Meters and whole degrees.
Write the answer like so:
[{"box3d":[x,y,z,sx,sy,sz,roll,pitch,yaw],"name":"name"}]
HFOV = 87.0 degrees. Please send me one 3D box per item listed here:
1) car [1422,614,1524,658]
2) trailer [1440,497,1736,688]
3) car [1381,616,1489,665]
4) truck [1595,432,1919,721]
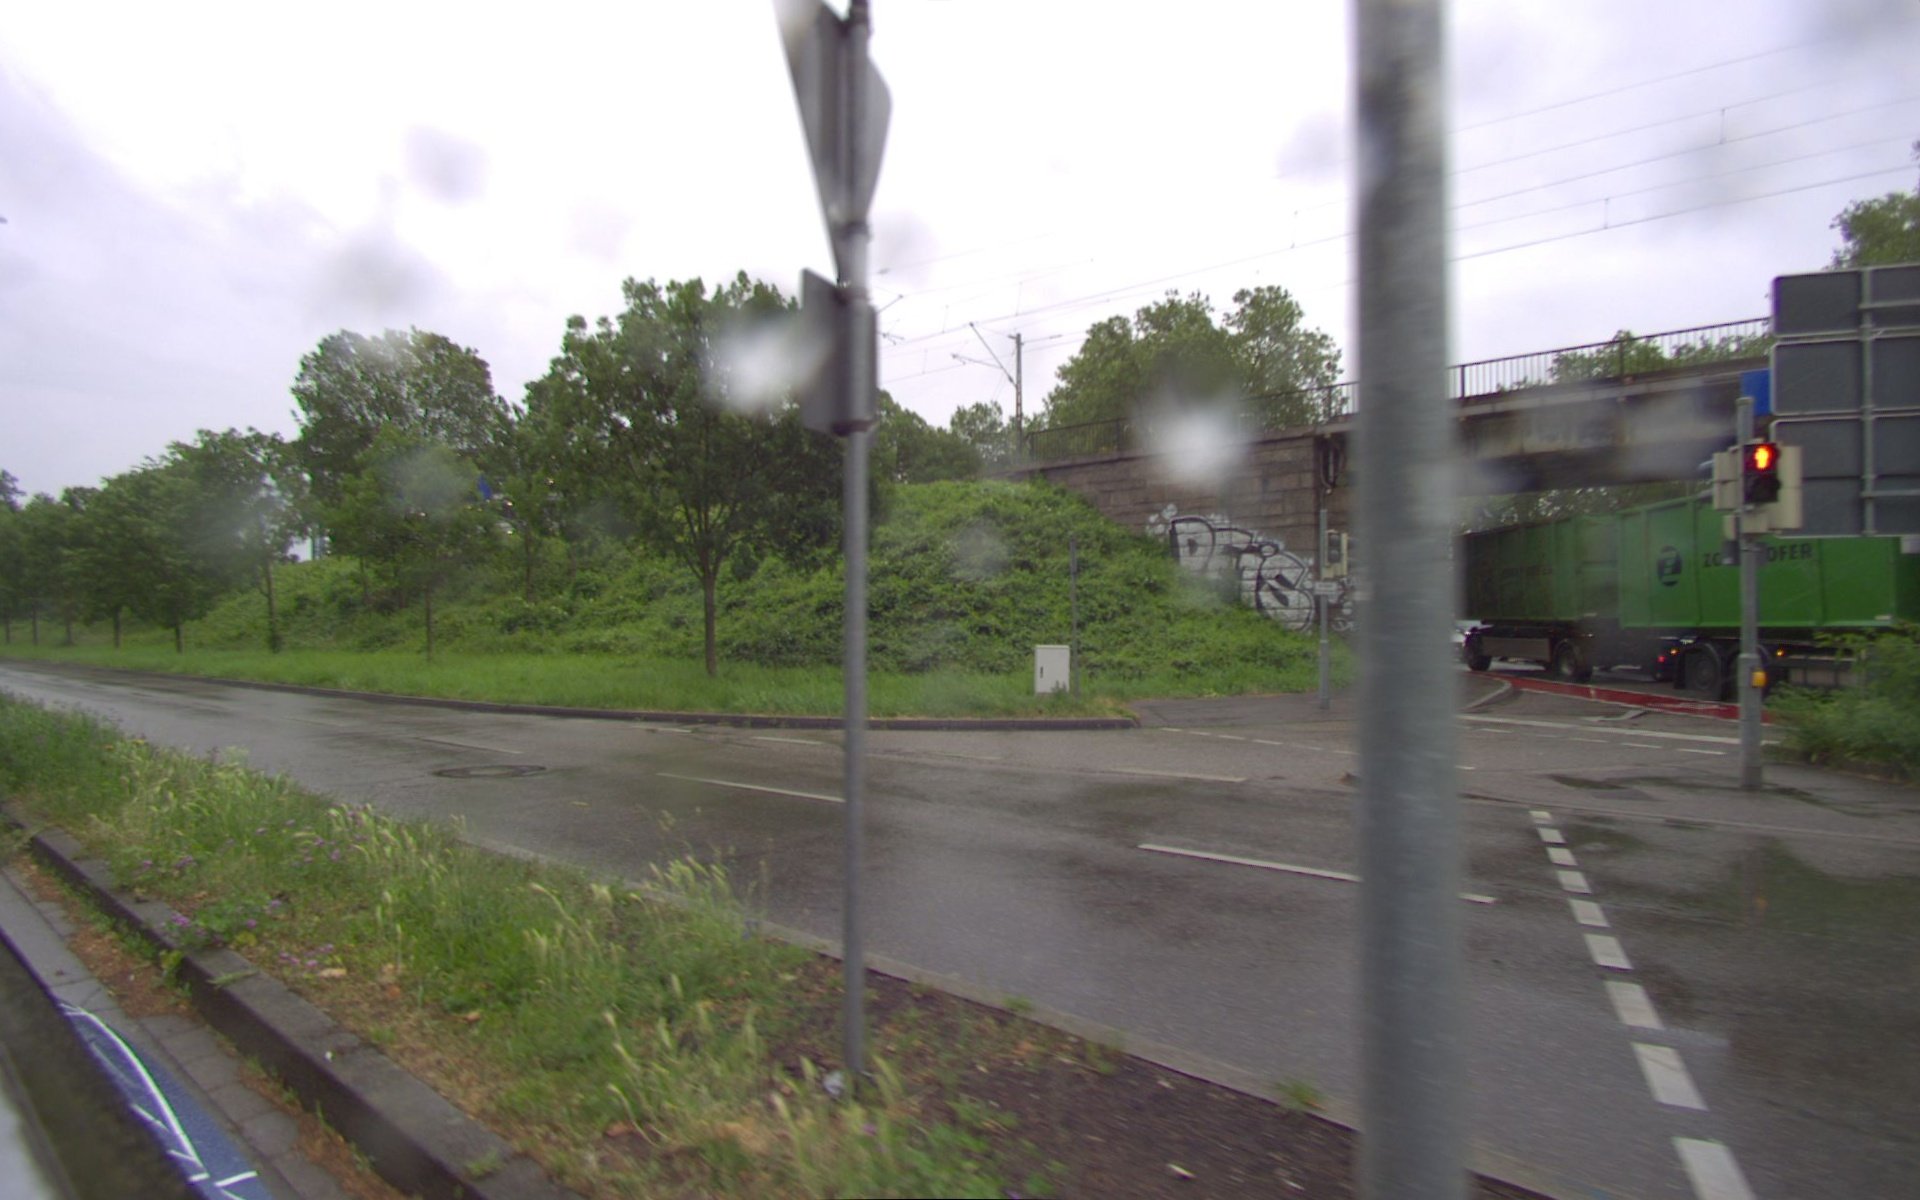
[{"box3d":[19.459,1.367,38.599,1.974,1.586,3.996,-1,-2,3],"name":"car"},{"box3d":[15.286,-0.061,25.671,2.655,4.017,8.508,-1,-1,4],"name":"trailer"},{"box3d":[16.398,1.402,35.142,1.974,1.586,3.996,-1,-2,3],"name":"car"},{"box3d":[14.671,-0.269,16.421,2.652,3.979,10.184,-1,-2,3],"name":"truck"}]
